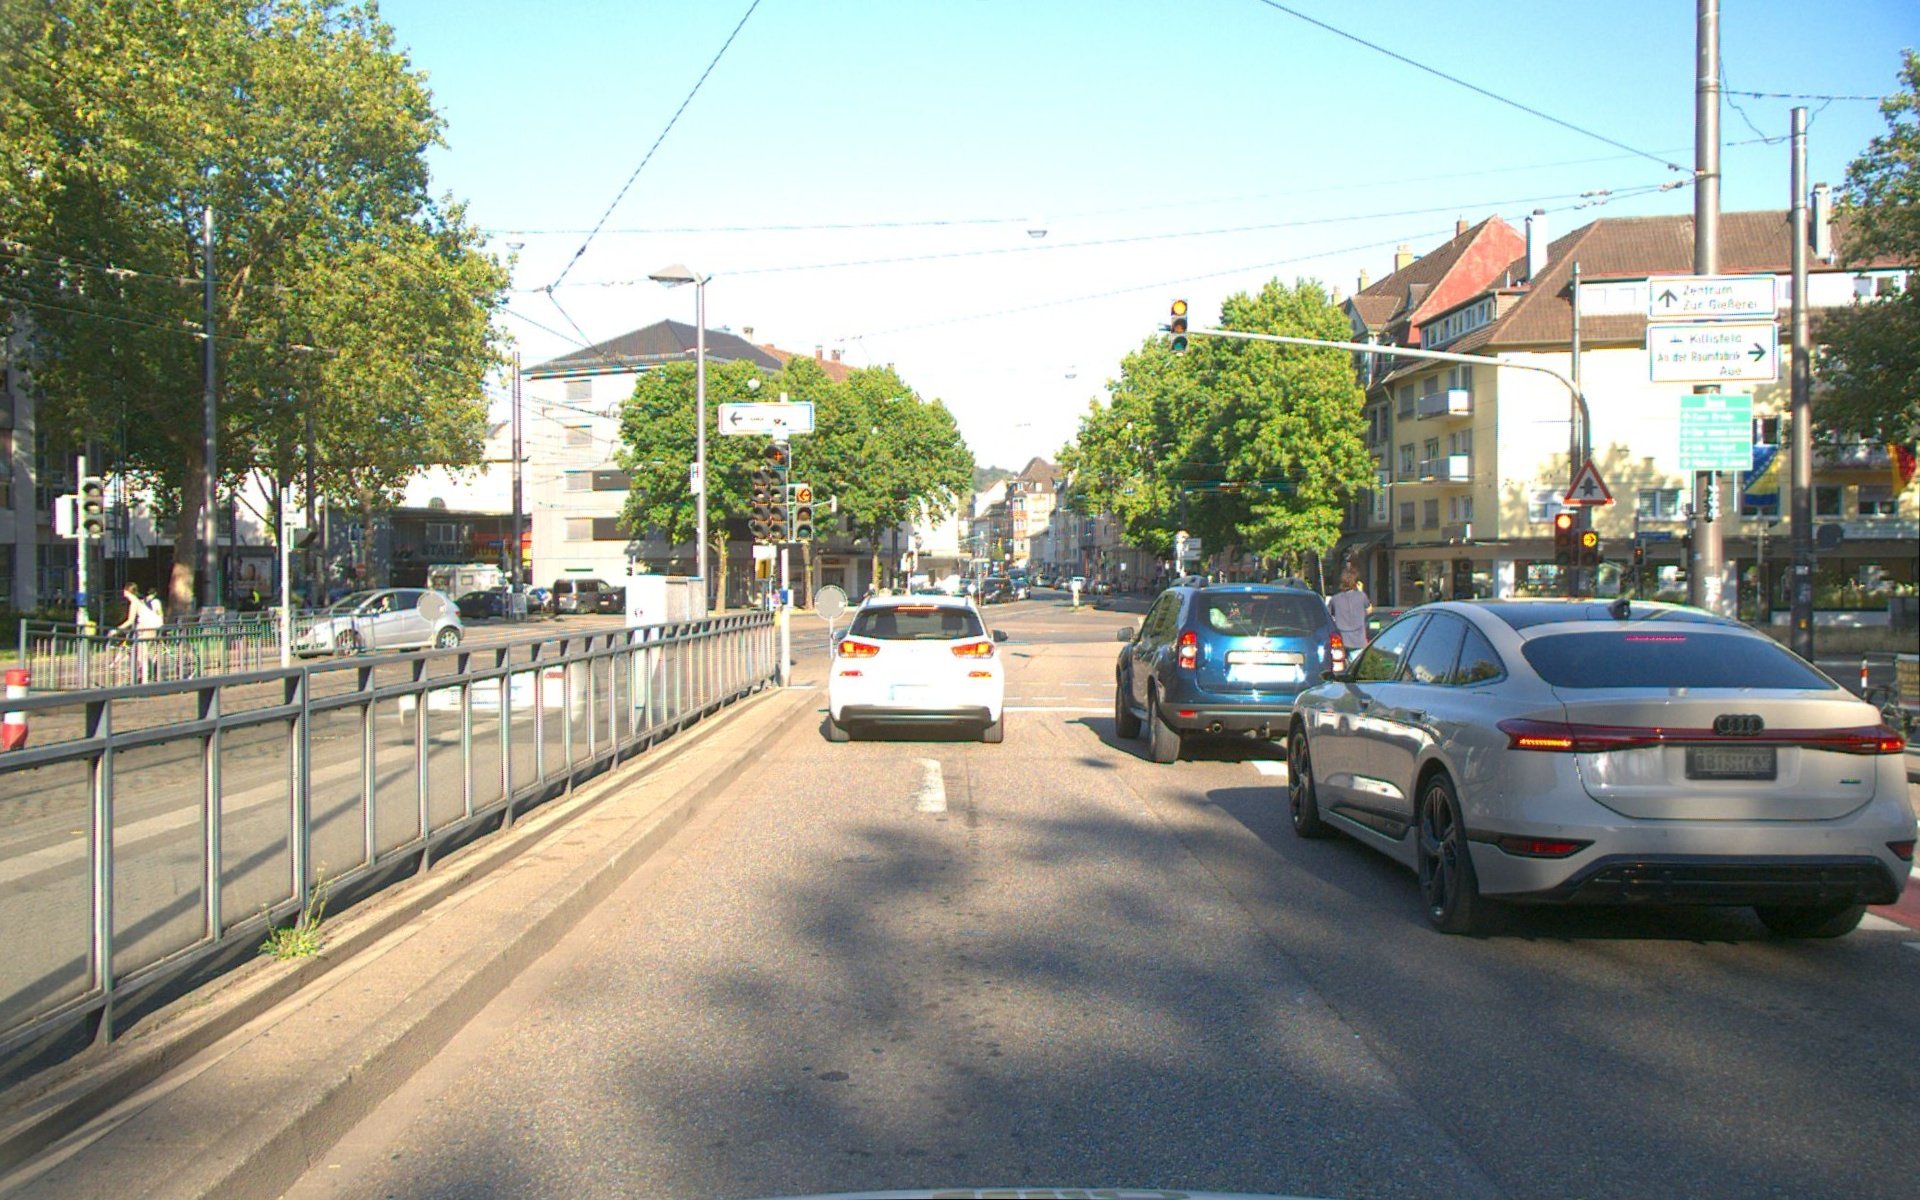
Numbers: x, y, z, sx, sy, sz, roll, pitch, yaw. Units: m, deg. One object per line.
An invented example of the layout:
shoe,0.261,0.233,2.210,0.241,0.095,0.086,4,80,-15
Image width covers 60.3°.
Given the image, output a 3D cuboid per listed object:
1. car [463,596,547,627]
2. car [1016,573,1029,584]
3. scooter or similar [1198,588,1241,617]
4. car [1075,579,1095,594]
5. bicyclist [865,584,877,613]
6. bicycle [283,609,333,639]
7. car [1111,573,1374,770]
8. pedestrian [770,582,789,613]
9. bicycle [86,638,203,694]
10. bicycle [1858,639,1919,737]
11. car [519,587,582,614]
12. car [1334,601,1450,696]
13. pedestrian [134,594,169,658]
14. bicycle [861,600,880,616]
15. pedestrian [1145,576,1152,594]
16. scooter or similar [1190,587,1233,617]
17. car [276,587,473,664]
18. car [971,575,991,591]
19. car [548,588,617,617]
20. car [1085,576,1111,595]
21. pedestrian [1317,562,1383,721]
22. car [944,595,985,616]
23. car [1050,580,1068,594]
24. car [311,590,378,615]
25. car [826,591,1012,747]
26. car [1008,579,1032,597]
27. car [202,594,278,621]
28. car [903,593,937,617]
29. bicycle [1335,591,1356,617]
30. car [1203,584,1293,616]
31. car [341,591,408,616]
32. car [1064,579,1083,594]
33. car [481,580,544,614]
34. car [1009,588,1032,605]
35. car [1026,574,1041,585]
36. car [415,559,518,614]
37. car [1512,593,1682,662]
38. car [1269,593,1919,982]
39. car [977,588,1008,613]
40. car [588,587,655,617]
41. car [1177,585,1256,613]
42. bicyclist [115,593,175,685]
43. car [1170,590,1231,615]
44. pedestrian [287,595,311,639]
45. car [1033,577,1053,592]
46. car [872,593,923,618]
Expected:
car,-23.524,0.573,85.566,3.904,1.537,1.800,0,0,20
car,9.214,-3.214,244.679,1.758,1.537,3.999,0,0,-1
scooter or similar,11.698,0.103,74.472,1.915,1.303,0.550,0,0,41
car,12.757,-1.353,169.019,1.758,1.537,3.999,0,0,-1
bicyclist,-5.402,-0.083,100.102,0.458,1.776,0.717,0,0,22
bicycle,-25.440,0.932,64.538,1.757,1.127,0.500,0,0,1
car,2.578,0.595,16.023,1.764,1.666,4.044,0,0,-1
pedestrian,-10.647,-0.136,97.454,0.820,1.802,0.782,0,0,25
bicycle,-12.903,1.033,26.188,1.598,0.830,0.521,0,0,-35
bicycle,11.163,1.022,19.185,0.488,1.093,1.800,1,-1,-1
car,-24.251,0.011,98.042,1.756,1.536,4.012,0,0,18
car,7.415,0.762,28.205,1.762,1.464,4.047,1,0,16
pedestrian,-20.234,0.645,41.396,0.524,1.579,0.677,0,0,-1
bicycle,-5.402,0.494,100.100,0.458,0.973,1.767,0,0,22
pedestrian,17.545,-1.364,154.012,0.634,1.680,0.651,1,-1,10
scooter or similar,11.250,0.092,73.915,1.915,1.303,0.550,0,0,41
car,-13.836,0.570,39.271,1.784,1.722,4.146,1,0,35
car,2.093,-1.695,163.604,1.758,1.536,3.999,0,0,-2
car,-21.906,0.135,96.063,1.760,1.677,4.004,0,0,28
car,13.538,-1.453,162.504,2.062,1.807,4.340,0,0,-1
pedestrian,4.762,0.499,20.220,0.643,1.904,0.677,0,0,-1
car,0.349,0.396,118.612,1.756,1.537,4.002,-1,0,18
car,11.652,-1.531,194.400,1.758,1.549,3.999,0,0,-1
car,-38.874,0.168,104.540,1.758,1.536,3.999,0,0,23
car,-0.439,0.656,17.828,1.771,1.478,3.999,1,0,-1
car,5.104,-1.036,140.739,1.758,1.536,3.999,0,0,-2
car,-41.830,0.408,96.098,3.904,1.537,1.800,0,0,20
car,-2.661,0.338,110.475,1.756,1.537,4.003,0,0,6
bicycle,17.272,0.167,74.109,0.596,1.127,1.801,0,0,4
car,13.928,-0.003,80.025,3.914,1.537,1.796,0,0,-10
car,-36.497,0.186,103.211,1.758,1.536,3.999,0,0,23
car,12.003,-1.404,175.168,1.758,1.537,3.999,0,0,-1
car,-26.714,-0.192,98.904,1.756,1.990,4.002,0,0,18
car,5.413,-0.340,148.740,1.758,1.536,3.999,0,0,-2
car,9.985,-2.809,224.862,1.758,1.537,3.999,0,0,-1
car,-29.724,-0.828,99.822,2.445,3.220,6.535,0,0,22
car,15.329,0.632,39.789,3.946,1.536,1.782,0,1,-31
car,3.085,0.720,8.859,1.890,1.498,4.854,0,0,-1
car,2.485,0.006,126.081,1.756,1.858,4.004,0,0,9
car,-19.490,0.121,95.393,1.881,1.677,4.181,0,0,20
car,14.024,-0.067,90.498,3.911,1.537,1.797,0,0,-7
bicyclist,-12.902,0.602,26.188,0.793,1.439,0.521,0,0,-35
car,15.241,0.165,104.728,3.968,1.537,1.772,-1,0,-43
pedestrian,-25.602,0.655,64.057,0.634,1.690,0.650,0,0,2
car,10.996,-2.036,219.411,2.280,2.049,4.975,0,0,-1
car,-3.950,0.351,104.496,1.689,1.537,3.874,-1,0,24
